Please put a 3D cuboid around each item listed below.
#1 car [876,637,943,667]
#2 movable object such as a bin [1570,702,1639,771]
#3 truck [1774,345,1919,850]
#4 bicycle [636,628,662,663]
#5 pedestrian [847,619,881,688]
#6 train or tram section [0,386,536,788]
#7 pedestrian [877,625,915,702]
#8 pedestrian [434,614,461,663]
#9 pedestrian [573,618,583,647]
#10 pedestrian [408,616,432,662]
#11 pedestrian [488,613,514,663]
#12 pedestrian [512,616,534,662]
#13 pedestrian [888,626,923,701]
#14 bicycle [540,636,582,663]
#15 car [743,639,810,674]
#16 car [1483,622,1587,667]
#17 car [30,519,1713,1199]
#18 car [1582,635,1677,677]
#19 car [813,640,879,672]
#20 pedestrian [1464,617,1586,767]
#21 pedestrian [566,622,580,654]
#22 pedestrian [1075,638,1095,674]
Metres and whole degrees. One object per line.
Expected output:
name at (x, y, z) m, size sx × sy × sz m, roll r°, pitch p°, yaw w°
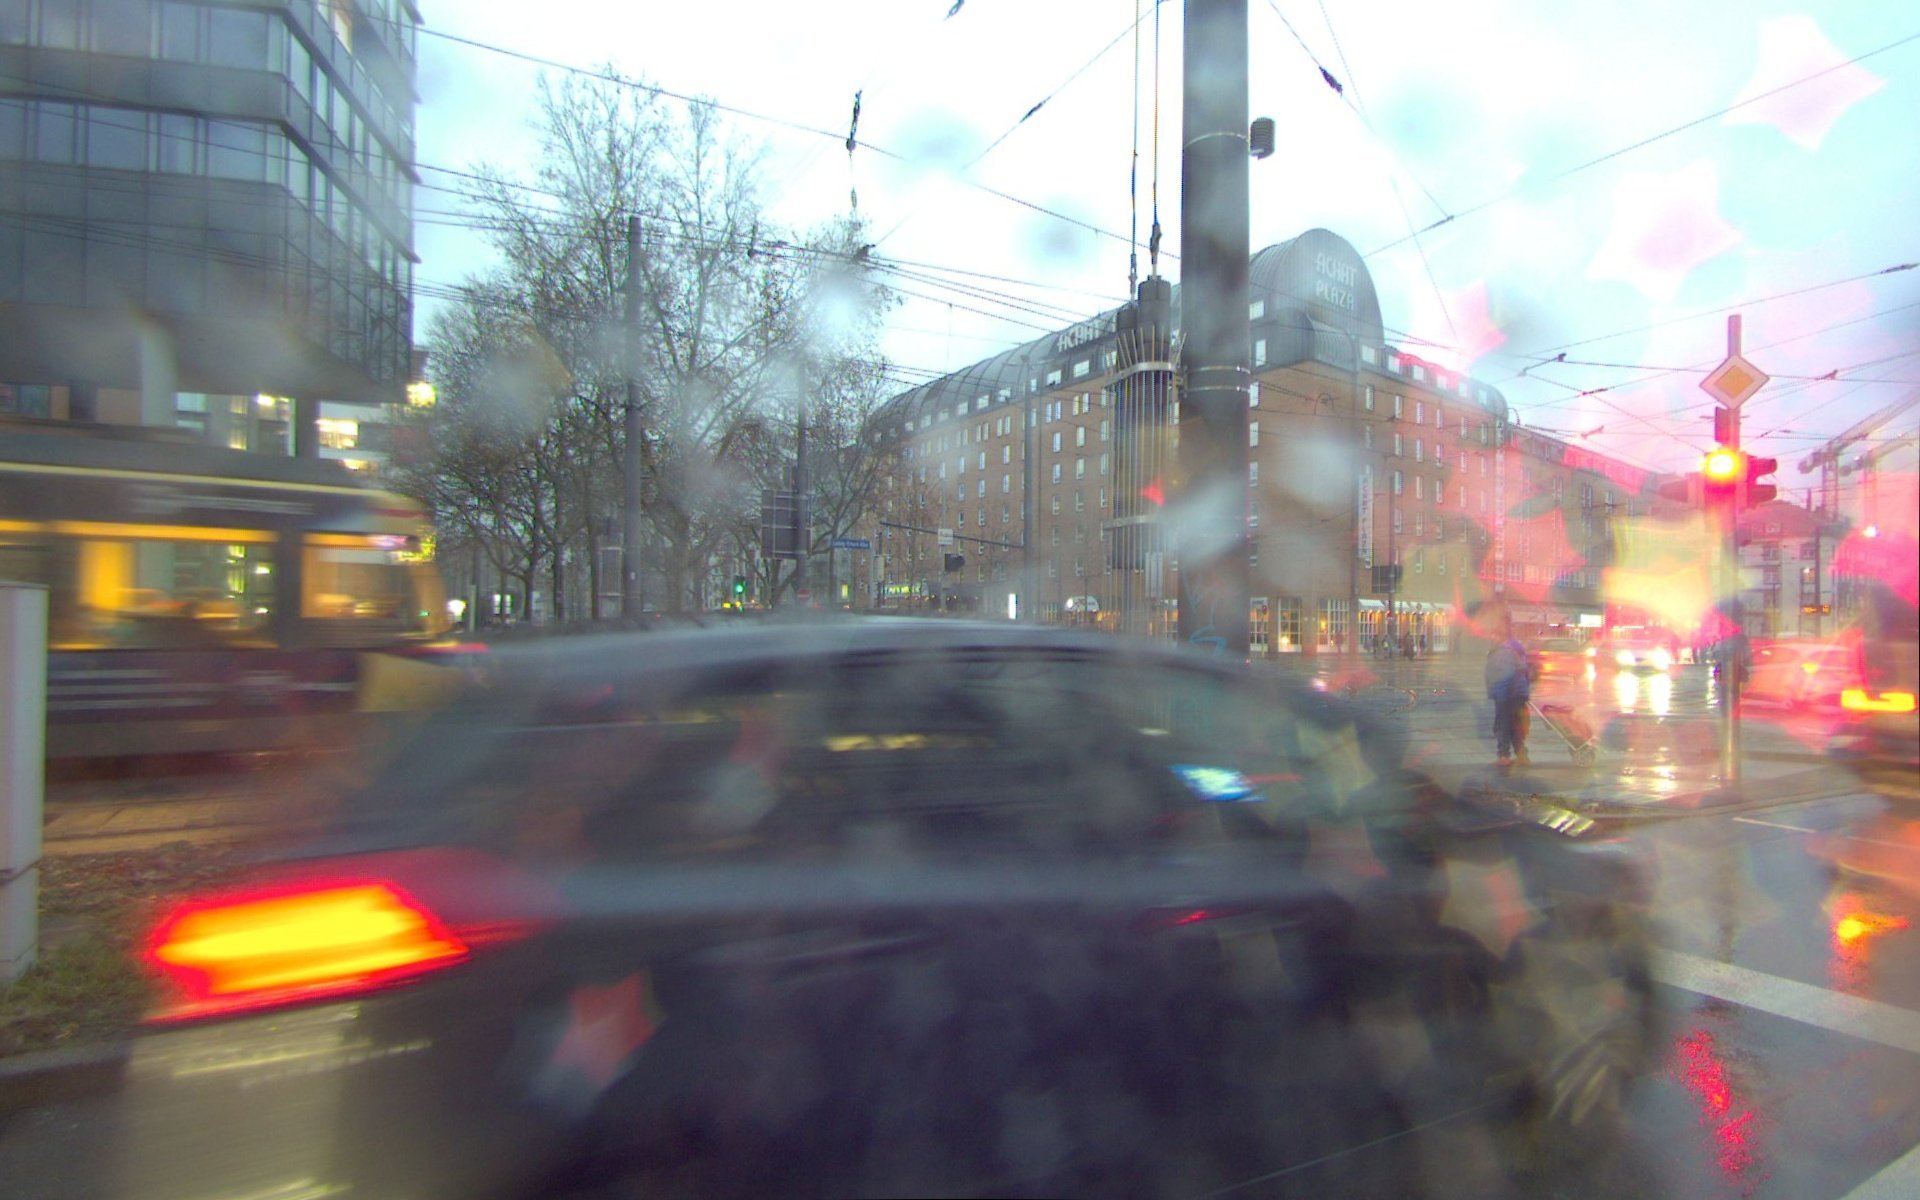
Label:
car at (-2.700, 2.697, 52.578) m, size 1.975 × 1.483 × 3.970 m, roll 1°, pitch -2°, yaw -28°
movable object such as a bin at (7.081, 1.493, 11.056) m, size 0.527 × 0.708 × 0.413 m, roll 0°, pitch -3°, yaw 15°
truck at (10.403, 0.050, 8.870) m, size 7.445 × 3.681 × 2.823 m, roll 1°, pitch -1°, yaw -33°
bicycle at (-12.256, 1.774, 39.541) m, size 0.624 × 1.336 × 2.296 m, roll 1°, pitch -2°, yaw -25°
pedestrian at (-2.133, 1.195, 22.471) m, size 0.724 × 1.519 × 0.676 m, roll 1°, pitch -1°, yaw -4°
train or tram section at (-13.688, -0.209, 7.722) m, size 18.998 × 3.662 × 2.849 m, roll 2°, pitch -2°, yaw -32°
pedestrian at (-1.286, 1.265, 20.175) m, size 0.635 × 1.532 × 0.560 m, roll 1°, pitch -1°, yaw -18°
pedestrian at (-19.219, 1.440, 37.684) m, size 0.778 × 1.828 × 0.868 m, roll 1°, pitch -1°, yaw -22°
pedestrian at (-26.587, 2.255, 69.993) m, size 0.568 × 2.040 × 0.583 m, roll 1°, pitch -2°, yaw -16°
pedestrian at (-20.996, 1.510, 39.050) m, size 0.776 × 1.734 × 0.650 m, roll 1°, pitch -2°, yaw -32°
pedestrian at (-16.753, 1.390, 36.666) m, size 0.811 × 1.797 × 0.568 m, roll 1°, pitch -2°, yaw -29°
pedestrian at (-17.839, 1.585, 40.958) m, size 0.719 × 1.840 × 0.773 m, roll 1°, pitch -1°, yaw -30°
pedestrian at (-1.138, 1.320, 21.044) m, size 0.604 × 1.532 × 0.519 m, roll 1°, pitch -1°, yaw -18°
bicycle at (-16.351, 2.010, 41.170) m, size 1.564 × 1.088 × 0.451 m, roll 1°, pitch -2°, yaw -20°
car at (-8.741, 2.643, 47.548) m, size 1.975 × 1.483 × 3.970 m, roll 1°, pitch -2°, yaw -28°
car at (19.991, 1.533, 35.089) m, size 1.669 × 1.478 × 3.759 m, roll 0°, pitch -2°, yaw 3°
car at (0.238, 0.725, 2.823) m, size 3.895 × 1.543 × 1.622 m, roll 1°, pitch -2°, yaw -30°
car at (28.792, 2.356, 43.389) m, size 2.209 × 1.628 × 5.005 m, roll 0°, pitch -2°, yaw 19°
car at (-5.806, 2.797, 50.631) m, size 1.975 × 1.483 × 3.970 m, roll 1°, pitch -2°, yaw -28°
pedestrian at (6.371, 1.019, 11.377) m, size 1.016 × 1.621 × 0.716 m, roll -1°, pitch -3°, yaw 14°
pedestrian at (-19.209, 1.879, 49.838) m, size 0.637 × 1.577 × 0.765 m, roll 1°, pitch -1°, yaw -22°
pedestrian at (7.295, 3.251, 58.586) m, size 1.142 × 2.037 × 0.899 m, roll 0°, pitch -2°, yaw 11°
